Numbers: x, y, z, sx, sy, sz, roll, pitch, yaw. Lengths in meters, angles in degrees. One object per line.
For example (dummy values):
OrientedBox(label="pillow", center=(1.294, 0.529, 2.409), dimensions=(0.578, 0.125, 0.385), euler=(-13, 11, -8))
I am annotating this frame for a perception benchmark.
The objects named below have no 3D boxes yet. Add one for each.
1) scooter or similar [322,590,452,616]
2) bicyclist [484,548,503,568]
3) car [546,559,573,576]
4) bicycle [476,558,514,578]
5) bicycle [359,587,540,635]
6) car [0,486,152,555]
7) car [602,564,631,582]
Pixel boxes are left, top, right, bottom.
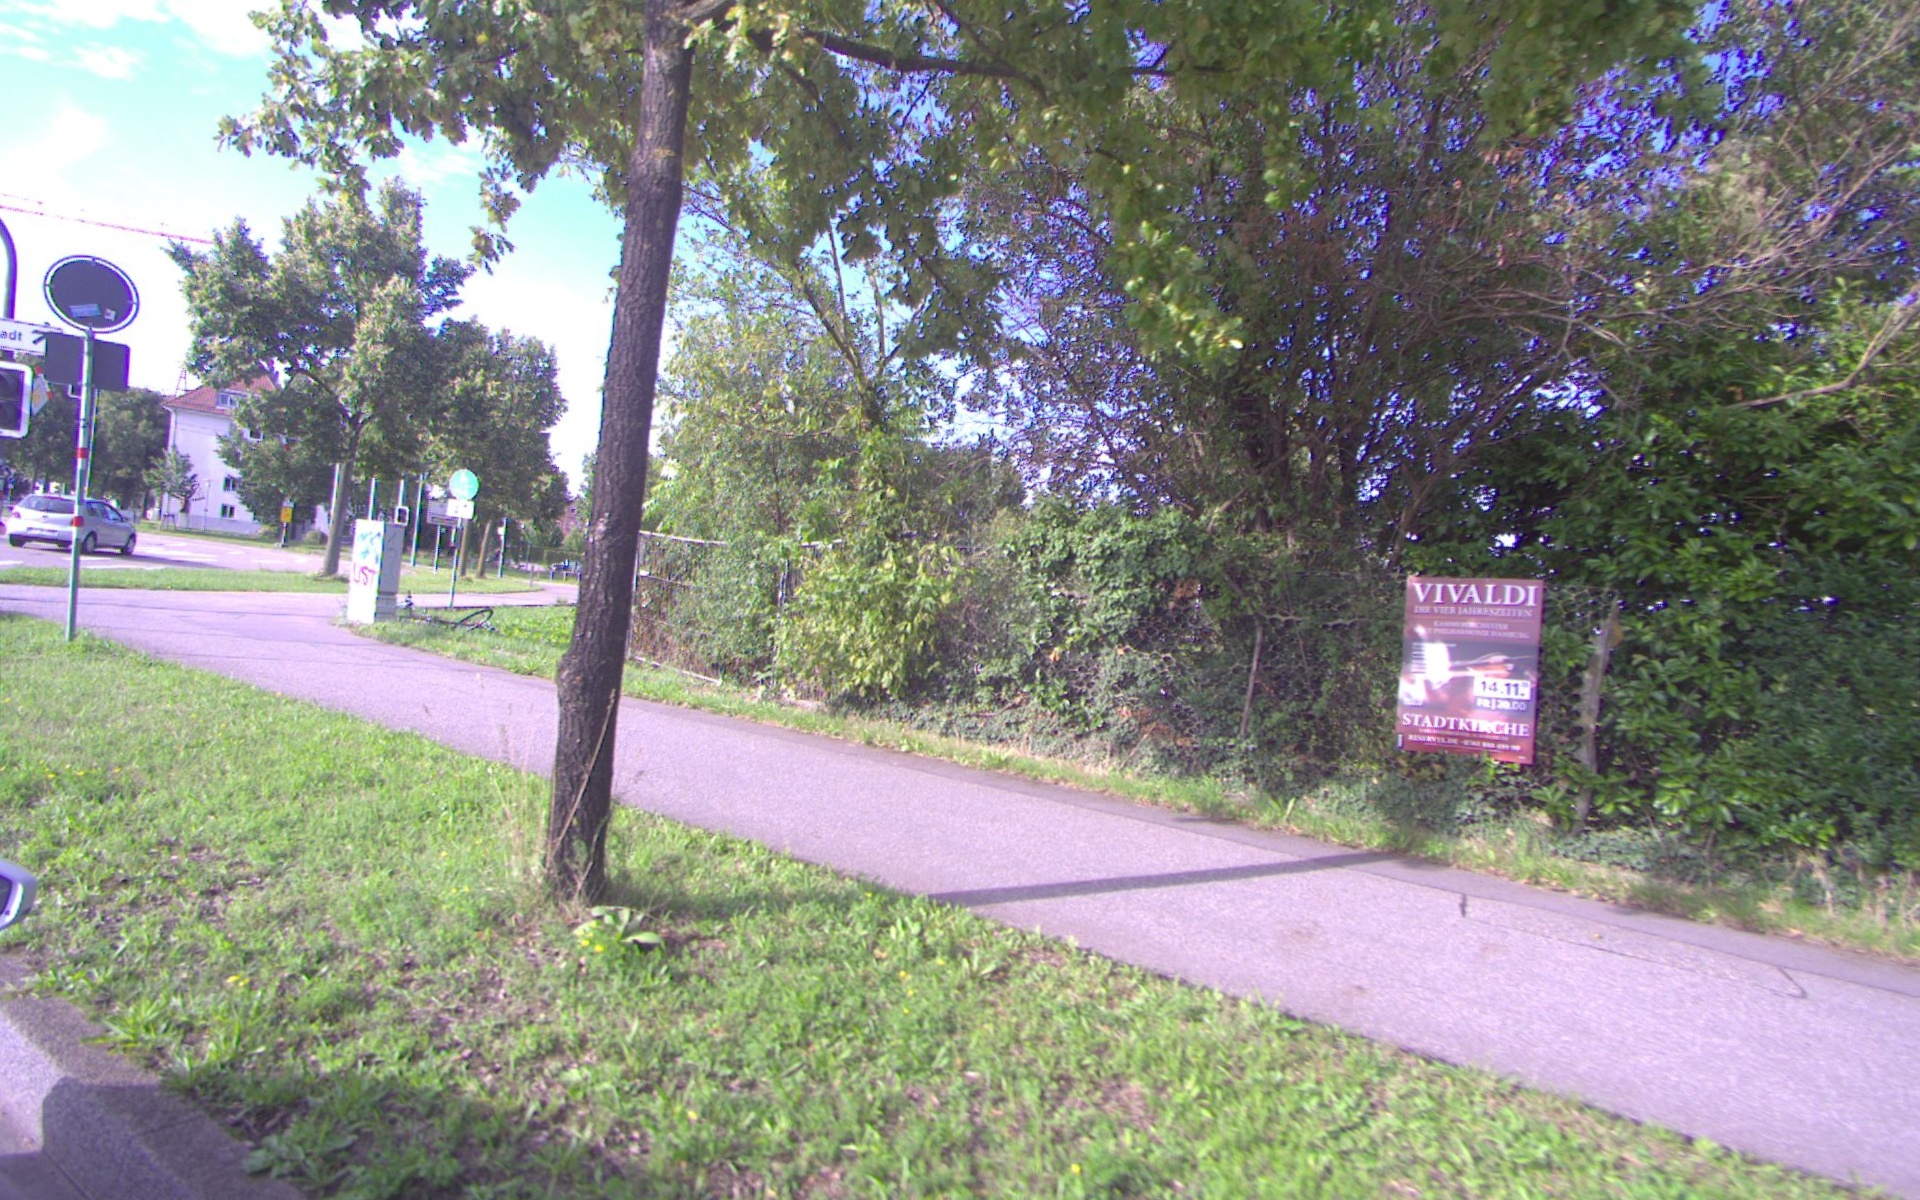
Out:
OrientedBox(label="scooter or similar", center=(-9.960, 0.069, 17.565), dimensions=(1.268, 0.284, 1.554), euler=(7, 0, 8))
OrientedBox(label="bicyclist", center=(-35.169, -3.177, 75.814), dimensions=(0.702, 1.372, 1.003), euler=(7, 1, 31))
OrientedBox(label="car", center=(-37.619, -3.072, 94.458), dimensions=(1.839, 1.376, 4.702), euler=(6, 0, -27))
OrientedBox(label="bicycle", center=(-35.172, -2.431, 76.145), dimensions=(0.702, 1.237, 2.523), euler=(7, 0, 31))
OrientedBox(label="bicycle", center=(-7.842, 0.170, 15.549), dimensions=(2.210, 0.350, 1.090), euler=(10, -1, -2))
OrientedBox(label="car", center=(-23.660, -2.050, 26.979), dimensions=(1.832, 1.444, 4.430), euler=(8, 0, -23))
OrientedBox(label="car", center=(-33.266, -2.634, 97.387), dimensions=(1.839, 1.375, 4.802), euler=(6, 0, -27))
